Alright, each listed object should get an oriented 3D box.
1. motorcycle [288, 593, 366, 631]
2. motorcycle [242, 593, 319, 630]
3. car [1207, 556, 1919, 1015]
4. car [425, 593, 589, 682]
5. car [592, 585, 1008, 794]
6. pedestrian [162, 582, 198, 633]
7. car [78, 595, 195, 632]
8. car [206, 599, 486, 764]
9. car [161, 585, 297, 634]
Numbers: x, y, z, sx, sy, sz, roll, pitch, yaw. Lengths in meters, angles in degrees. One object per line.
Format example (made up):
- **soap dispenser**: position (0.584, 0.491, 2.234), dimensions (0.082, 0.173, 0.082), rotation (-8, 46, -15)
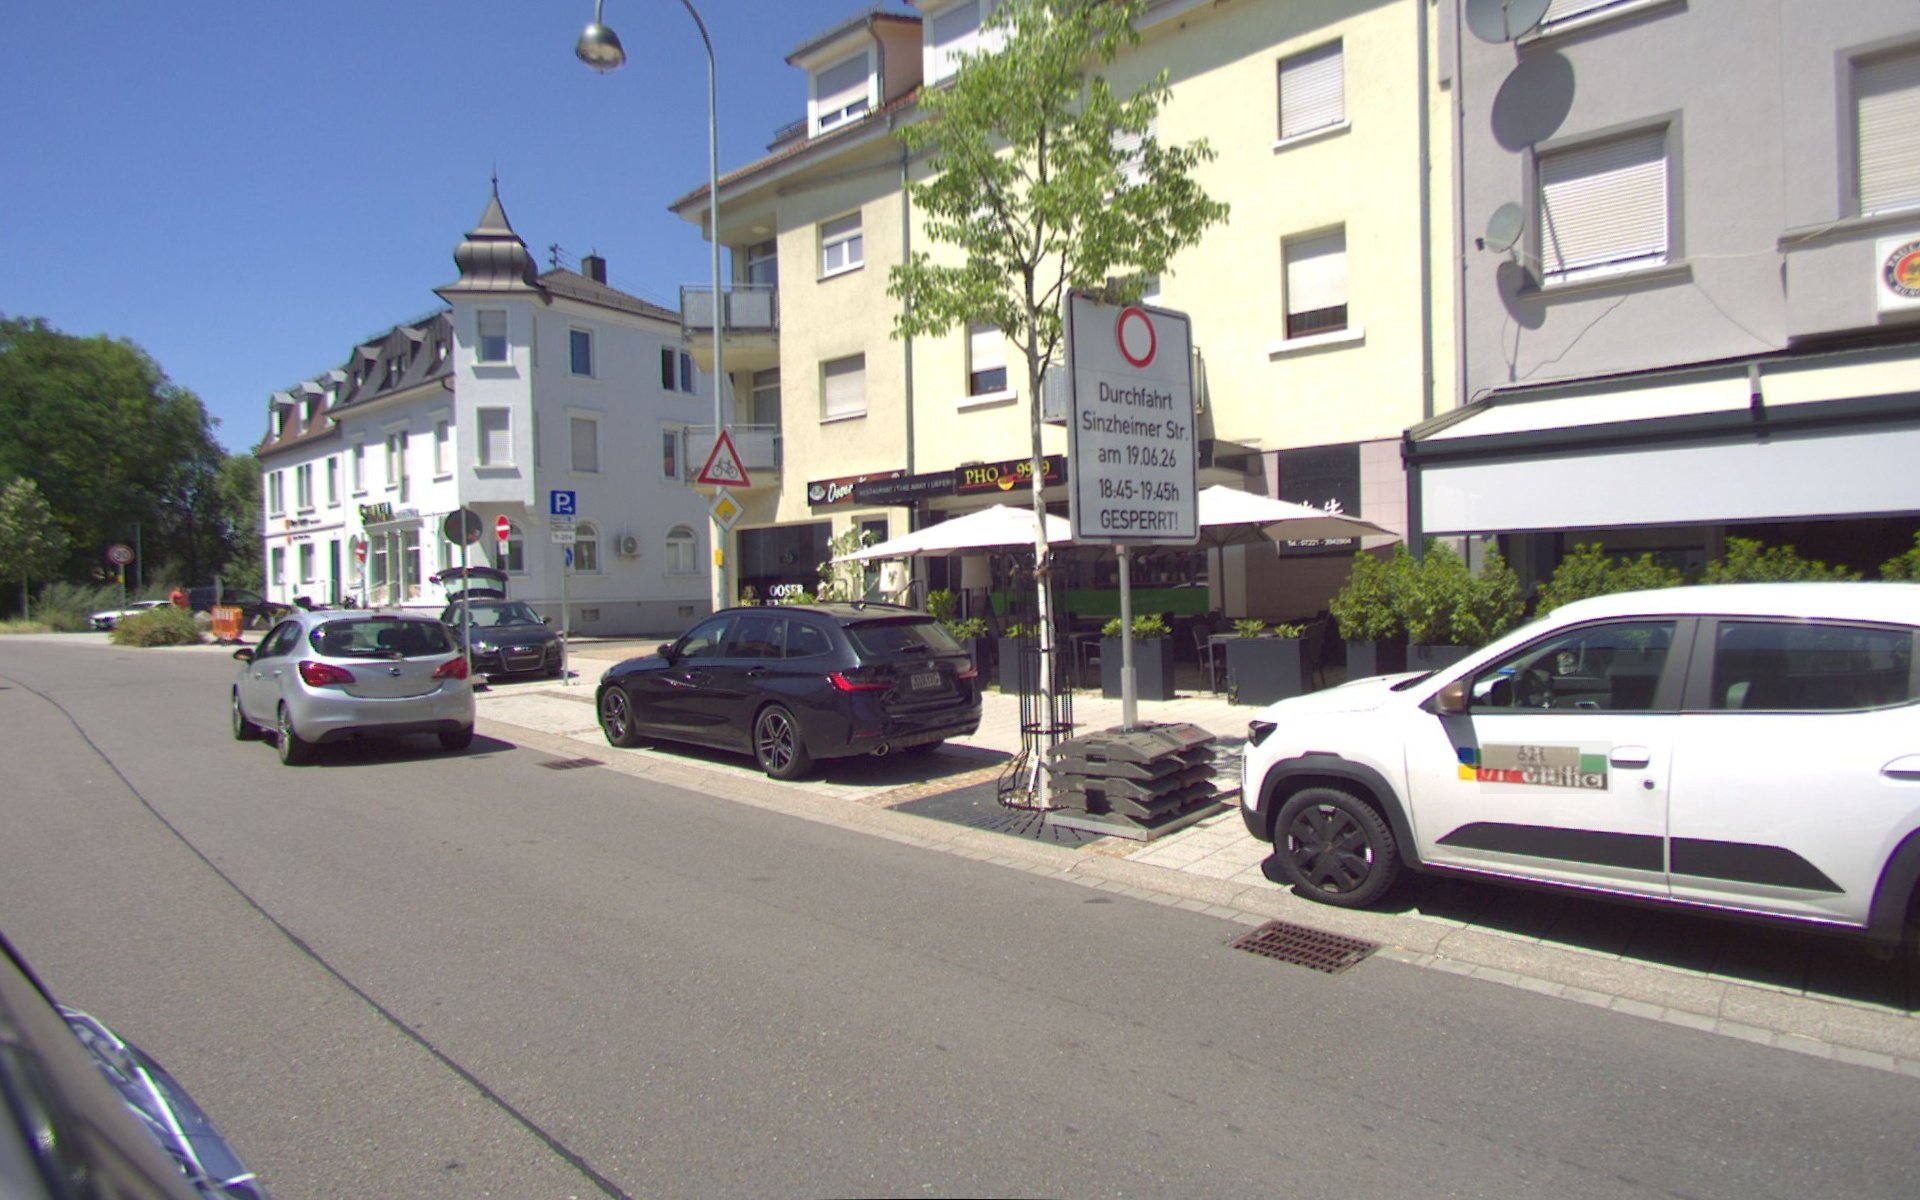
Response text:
- **motorcycle**: position (-23.040, 0.421, 36.866), dimensions (0.725, 1.335, 2.292), rotation (-1, 0, 42)
- **motorcycle**: position (-25.707, 0.425, 38.306), dimensions (0.725, 1.335, 2.292), rotation (-1, 0, 42)
- **car**: position (3.216, 0.600, 4.502), dimensions (1.662, 1.495, 3.770), rotation (-4, 2, -45)
- **car**: position (-8.559, 0.628, 18.973), dimensions (1.873, 1.452, 3.782), rotation (-1, 1, -39)
- **car**: position (-1.726, 0.676, 9.694), dimensions (1.662, 1.495, 4.342), rotation (-4, 2, -45)
- **pedestrian**: position (-27.503, 0.269, 35.704), dimensions (0.800, 1.779, 0.751), rotation (-1, 0, 30)
- **car**: position (-36.549, 0.553, 45.037), dimensions (1.813, 1.548, 3.933), rotation (-1, 0, 5)
- **car**: position (-6.899, 0.771, 11.190), dimensions (4.087, 1.495, 1.662), rotation (-1, -2, 44)
- **car**: position (-28.224, 0.336, 39.174), dimensions (1.815, 1.752, 4.023), rotation (-1, 0, 44)
